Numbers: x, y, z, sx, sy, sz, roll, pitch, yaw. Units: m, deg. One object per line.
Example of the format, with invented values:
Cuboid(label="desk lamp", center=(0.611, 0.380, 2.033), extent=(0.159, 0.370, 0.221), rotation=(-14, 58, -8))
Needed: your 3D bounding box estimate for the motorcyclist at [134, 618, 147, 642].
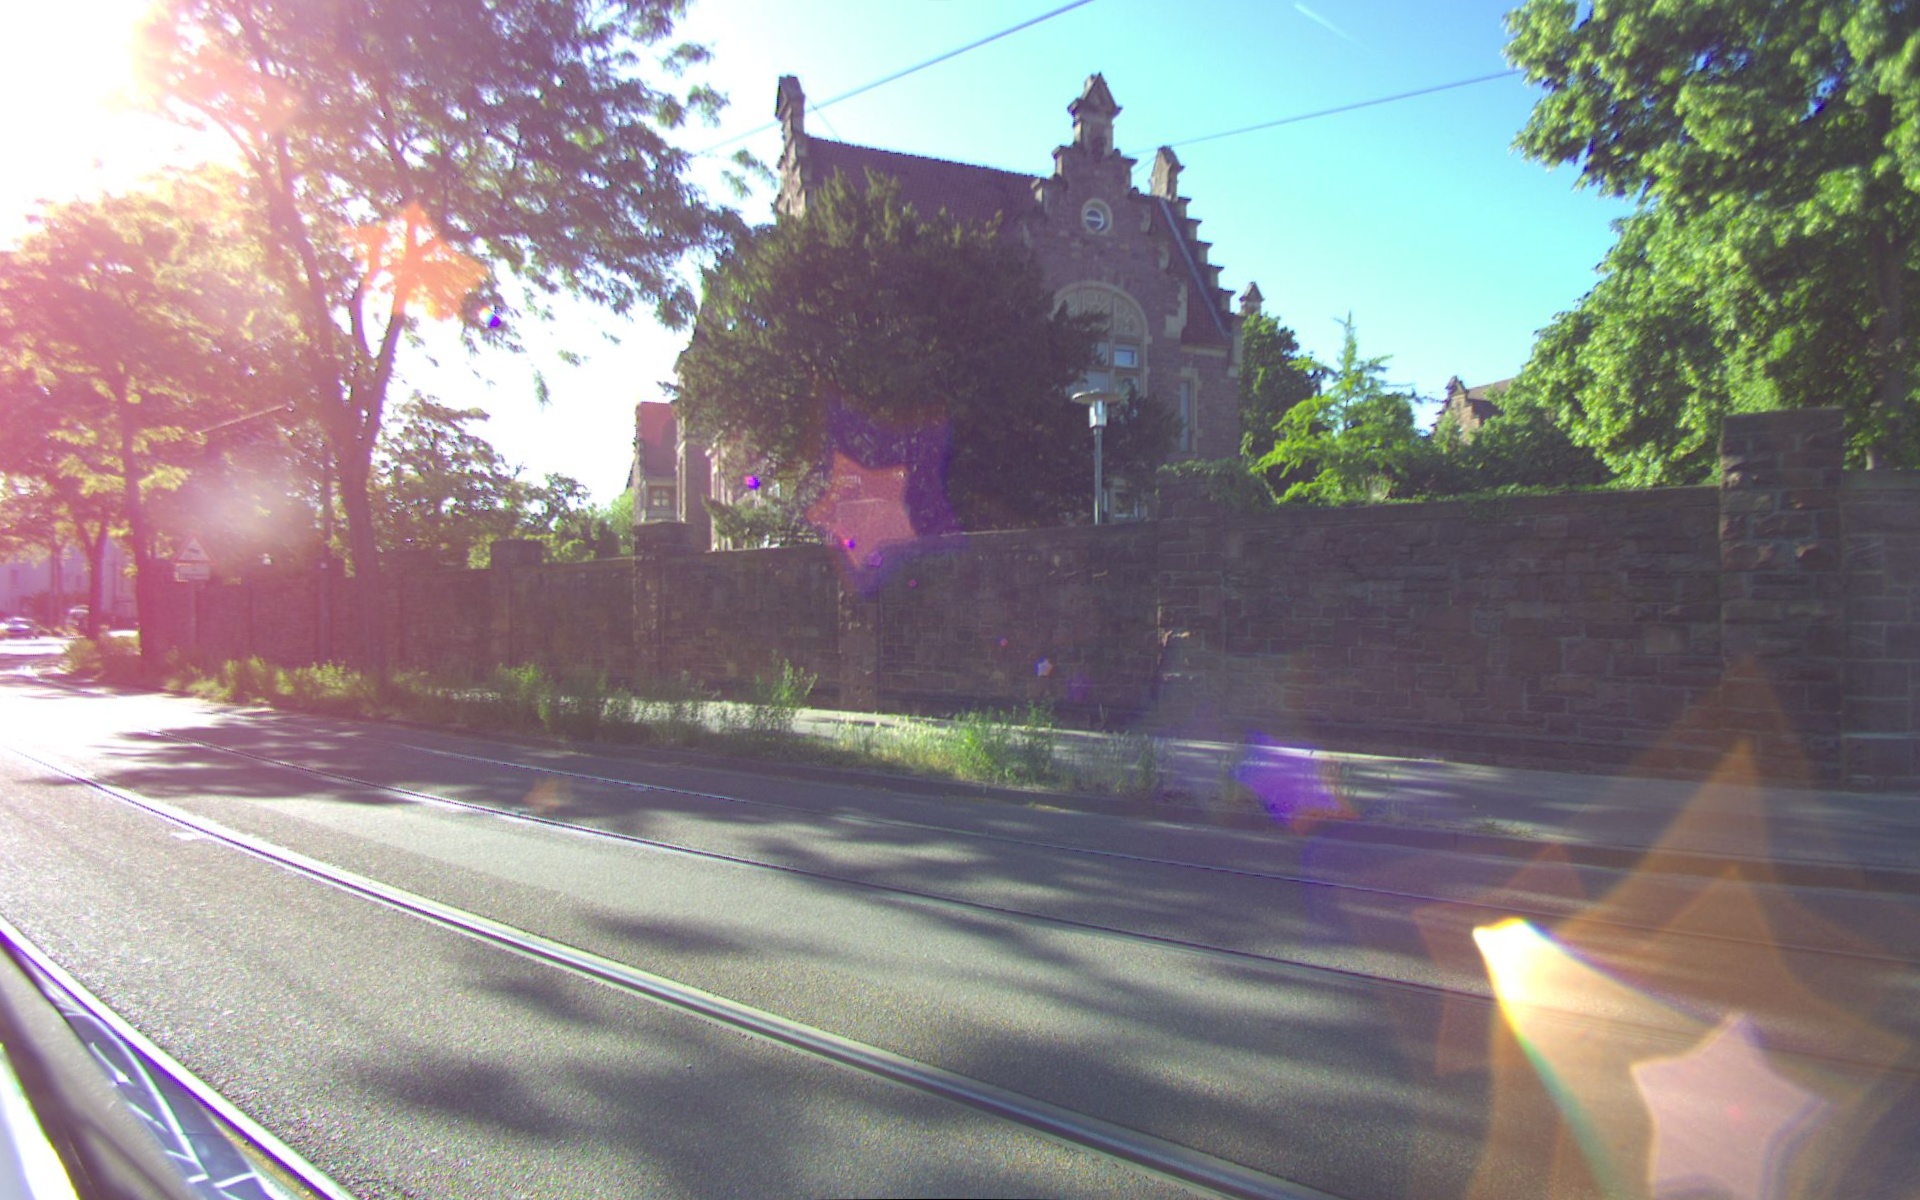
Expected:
Cuboid(label="motorcyclist", center=(-52.964, 1.946, 65.430), extent=(0.598, 1.527, 0.467), rotation=(0, -1, -33))

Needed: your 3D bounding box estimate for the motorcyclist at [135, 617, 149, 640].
Cuboid(label="motorcyclist", center=(-53.223, 1.851, 65.854), extent=(0.674, 1.451, 0.448), rotation=(0, -1, -32))

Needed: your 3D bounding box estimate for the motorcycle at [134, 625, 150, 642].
Cuboid(label="motorcycle", center=(-53.211, 2.181, 65.815), extent=(0.601, 1.101, 1.861), rotation=(0, -1, -32))
